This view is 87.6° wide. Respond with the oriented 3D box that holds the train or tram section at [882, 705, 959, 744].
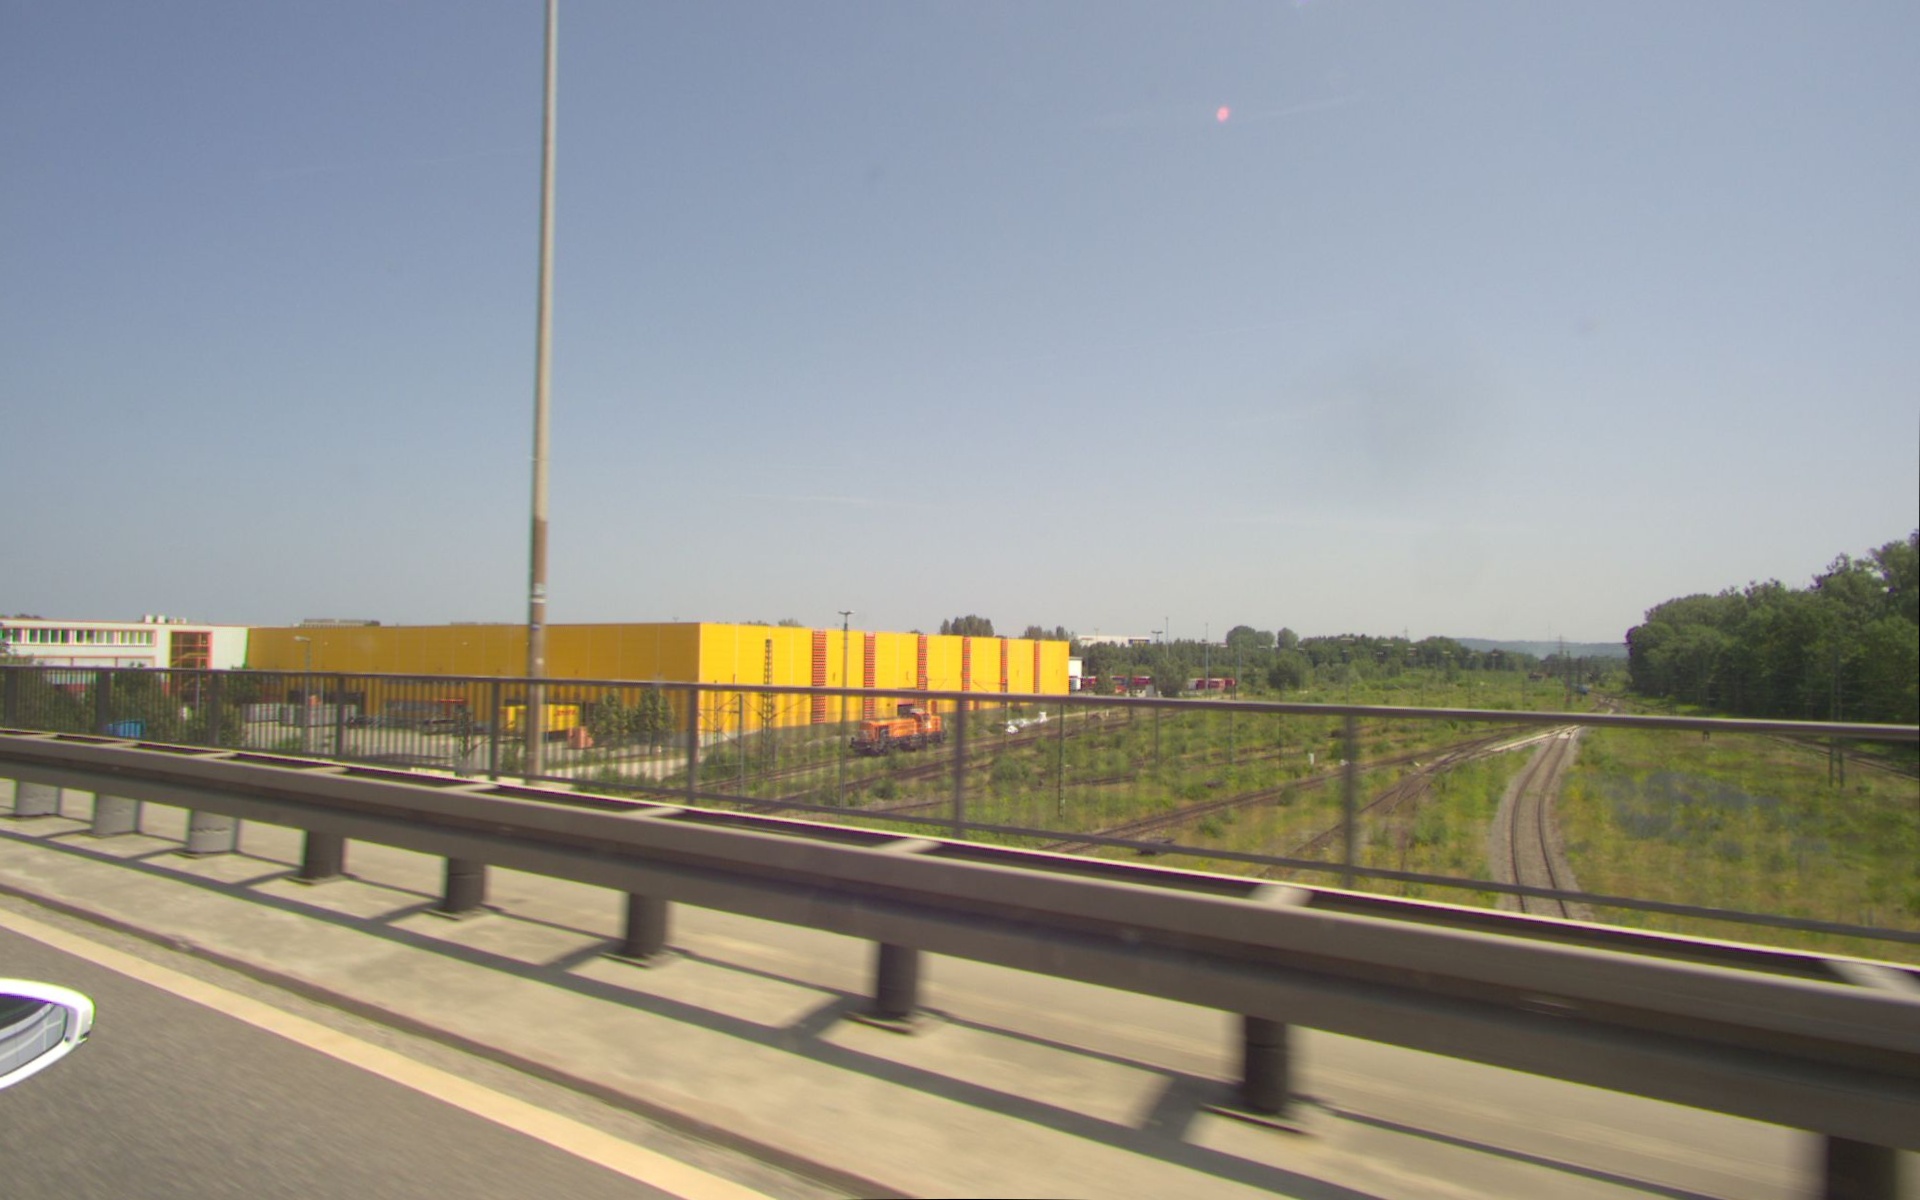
[{"bbox_3d":[-4.128,13.615,110.507,2.203,3.733,13.976,0,-4,26],"label":"train or tram section"}]
